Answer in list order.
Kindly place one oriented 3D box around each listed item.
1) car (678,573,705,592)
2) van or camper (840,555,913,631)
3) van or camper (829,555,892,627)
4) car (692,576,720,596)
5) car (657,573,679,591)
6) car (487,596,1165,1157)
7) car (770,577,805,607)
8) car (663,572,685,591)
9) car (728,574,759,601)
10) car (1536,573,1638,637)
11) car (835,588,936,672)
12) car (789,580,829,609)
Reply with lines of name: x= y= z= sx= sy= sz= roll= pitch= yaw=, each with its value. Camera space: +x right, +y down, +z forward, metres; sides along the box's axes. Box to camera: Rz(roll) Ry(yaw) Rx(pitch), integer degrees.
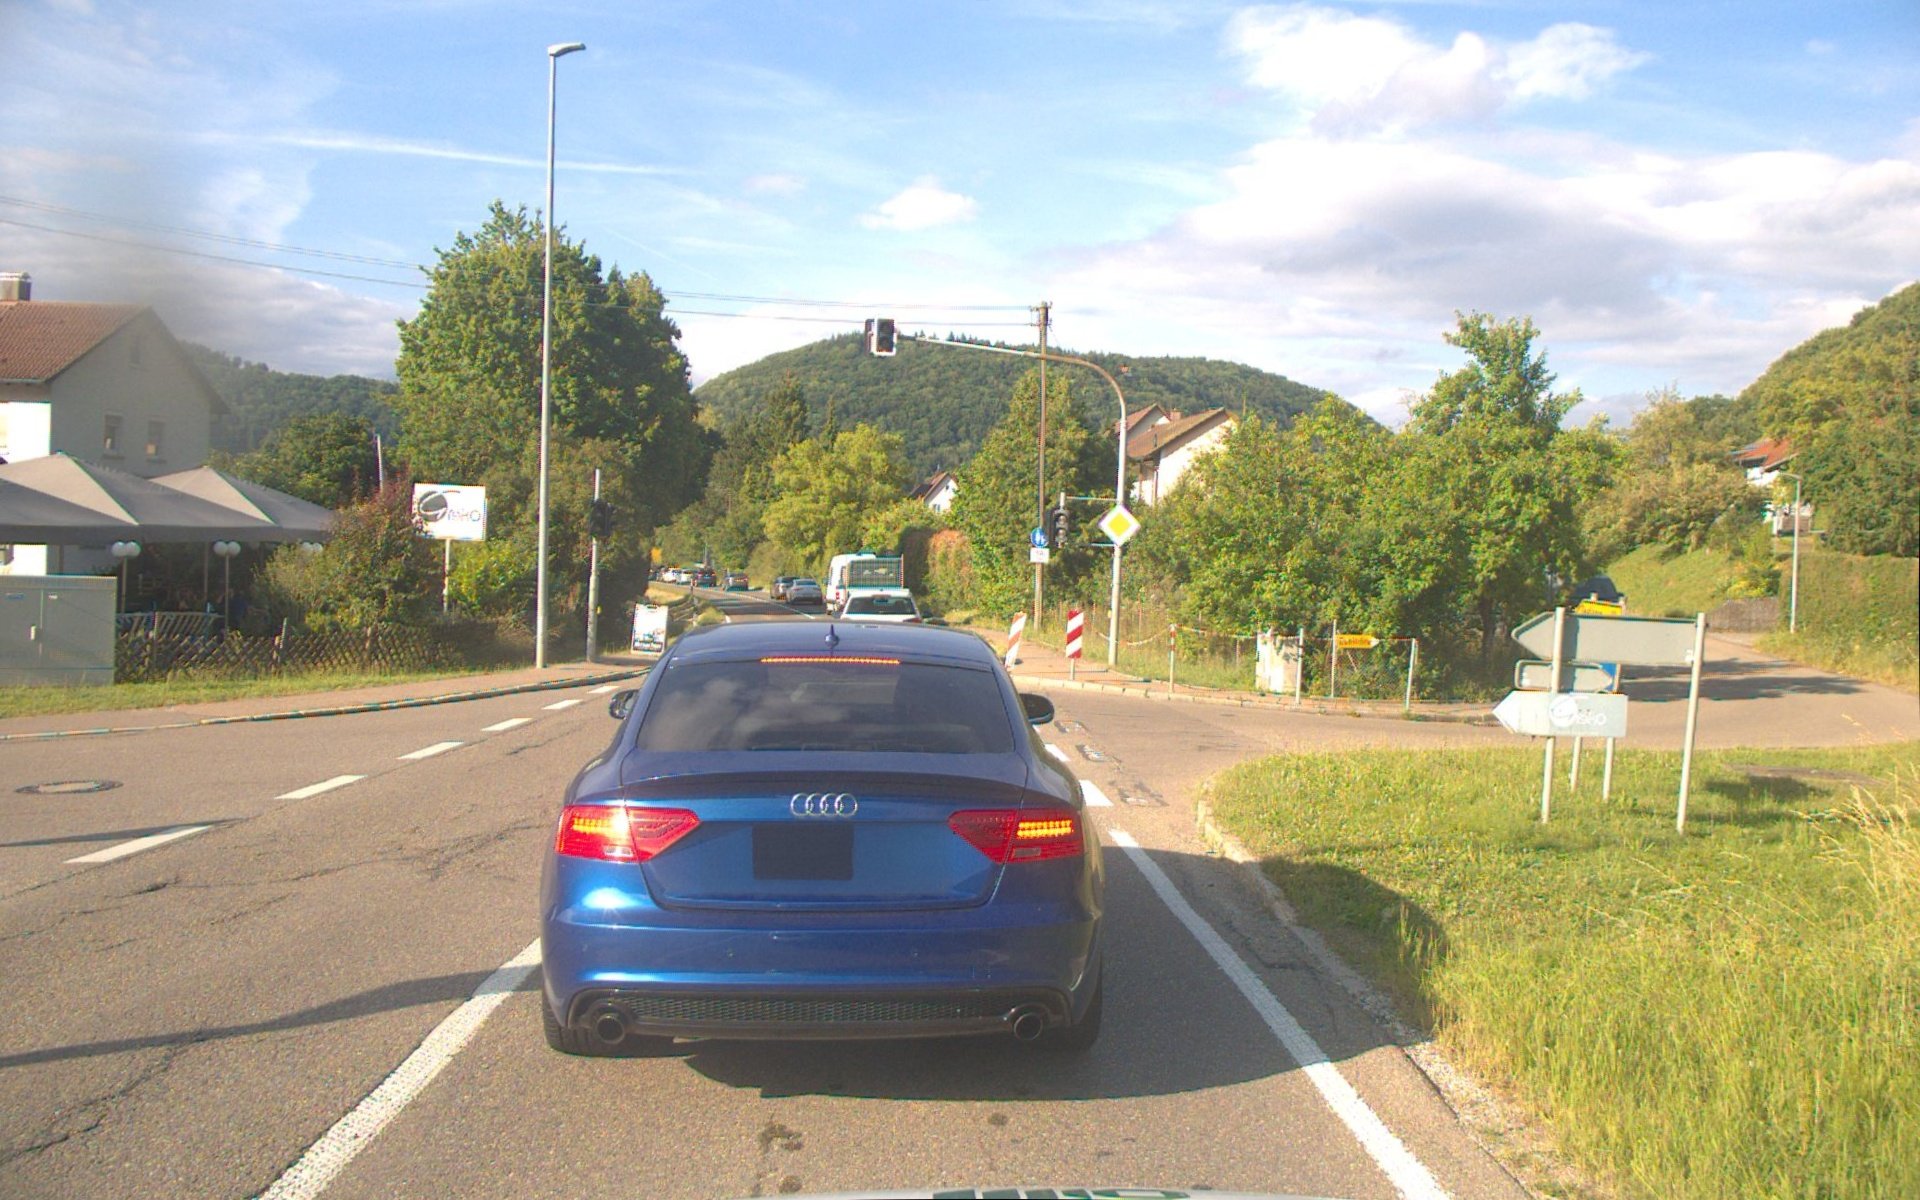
car: x=-25.385 y=-1.641 z=156.156 sx=1.912 sy=1.713 sz=3.980 roll=0 pitch=1 yaw=-18
van or camper: x=-2.891 y=-0.269 z=56.253 sx=2.138 sy=2.426 sz=5.362 roll=0 pitch=1 yaw=-7
van or camper: x=-4.356 y=-0.416 z=71.276 sx=2.369 sy=2.955 sz=6.123 roll=0 pitch=1 yaw=-7
car: x=-22.716 y=-1.277 z=147.605 sx=2.007 sy=1.713 sz=3.983 roll=0 pitch=1 yaw=-16
car: x=-30.141 y=-1.832 z=170.737 sx=1.744 sy=1.814 sz=3.981 roll=0 pitch=1 yaw=-17
car: x=-0.435 y=0.725 z=6.517 sx=1.793 sy=1.433 sz=4.225 roll=0 pitch=1 yaw=-2
car: x=-10.795 y=-0.496 z=103.482 sx=1.765 sy=1.825 sz=3.988 roll=0 pitch=1 yaw=-12
car: x=-28.462 y=-1.842 z=164.709 sx=1.720 sy=1.814 sz=3.983 roll=0 pitch=1 yaw=-16
car: x=-17.158 y=-1.009 z=130.875 sx=1.960 sy=2.049 sz=3.985 roll=0 pitch=1 yaw=-15
car: x=20.303 y=0.113 z=53.773 sx=1.951 sy=1.909 sz=4.875 roll=3 pitch=1 yaw=7
car: x=-1.504 y=0.526 z=32.015 sx=1.737 sy=1.439 sz=4.169 roll=2 pitch=0 yaw=-5
car: x=-8.449 y=-0.313 z=92.588 sx=1.787 sy=1.579 sz=3.989 roll=0 pitch=1 yaw=-12
